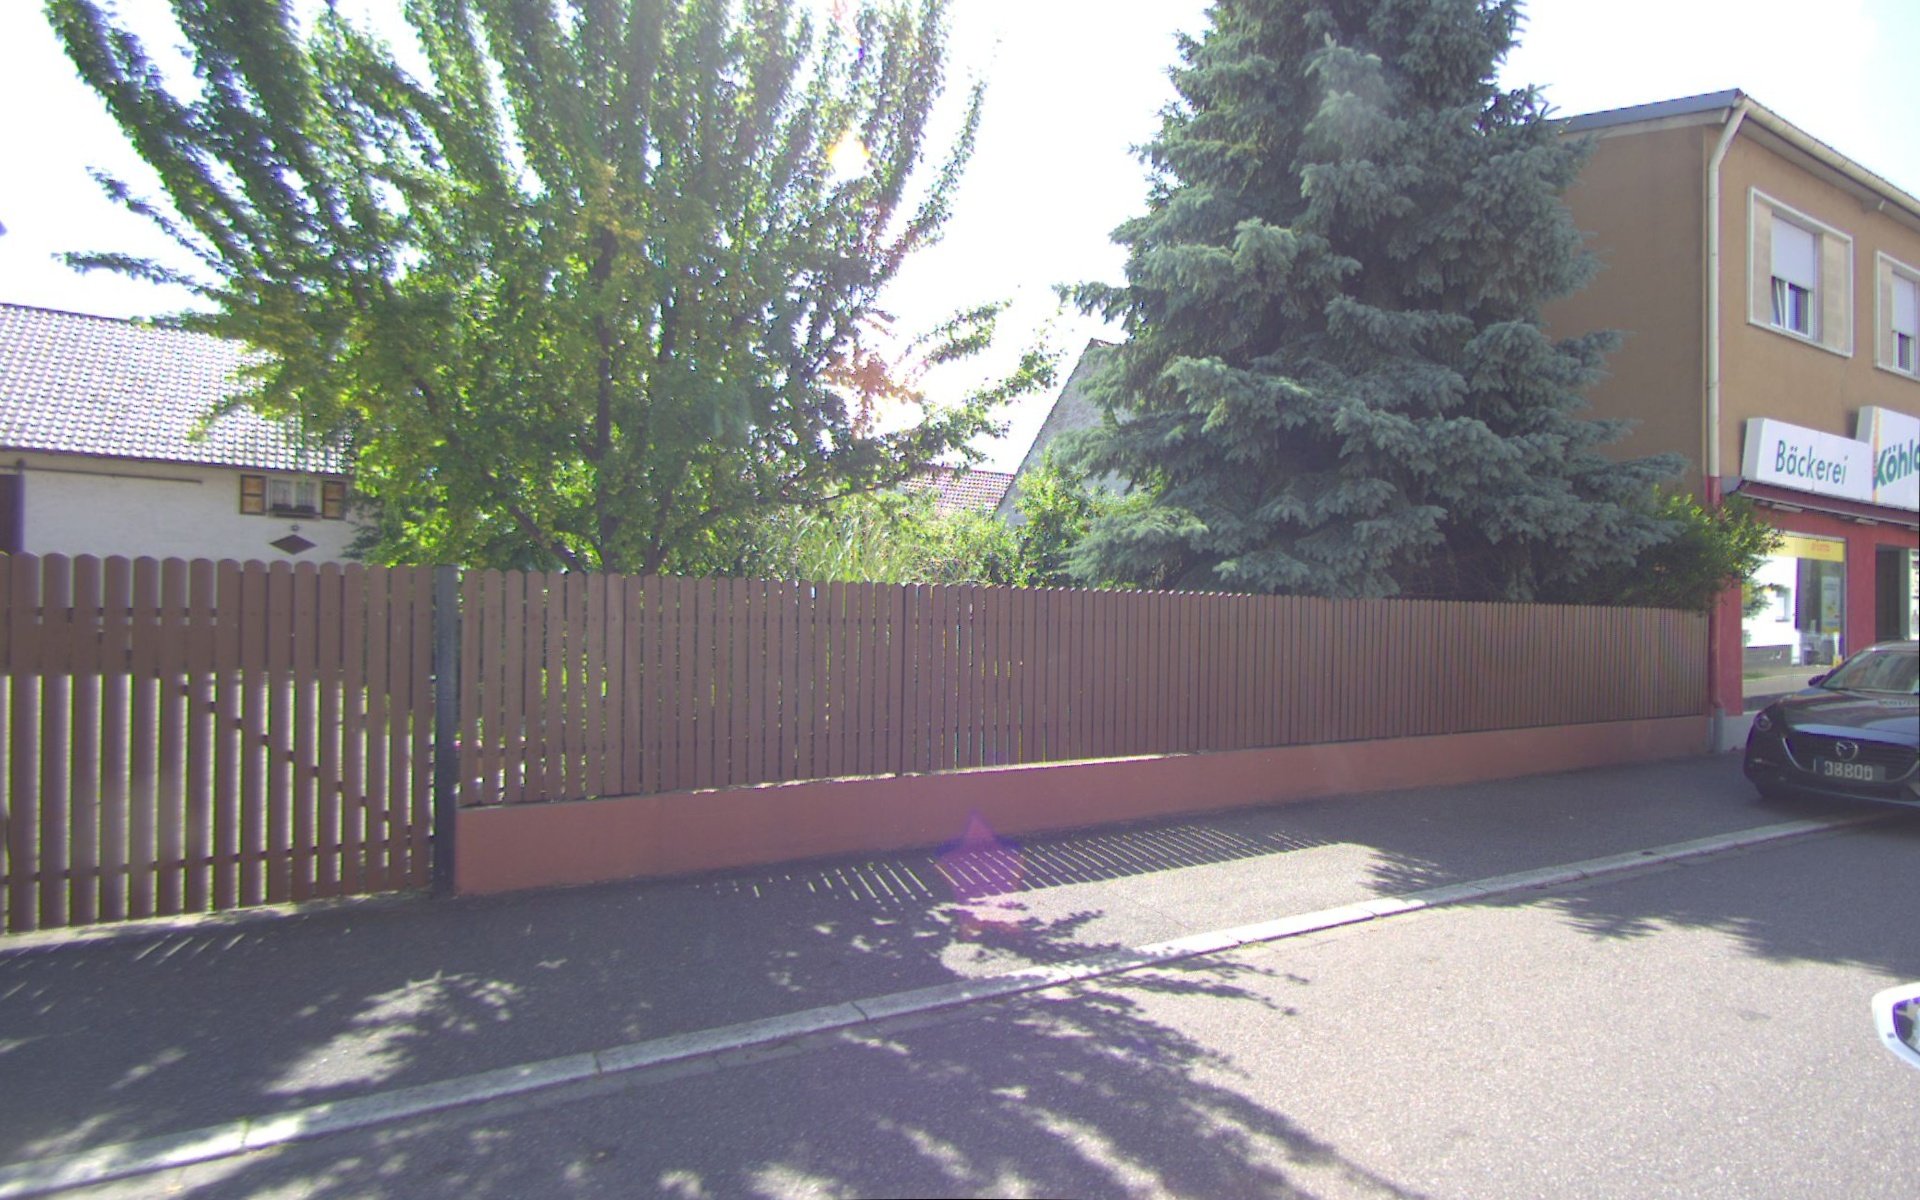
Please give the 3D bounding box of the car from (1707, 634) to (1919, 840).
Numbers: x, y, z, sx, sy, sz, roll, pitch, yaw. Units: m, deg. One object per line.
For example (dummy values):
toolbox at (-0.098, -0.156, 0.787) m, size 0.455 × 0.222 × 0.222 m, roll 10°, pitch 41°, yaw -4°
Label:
car at (8.709, 1.058, 8.823) m, size 4.380 × 1.479 × 1.761 m, roll 1°, pitch -1°, yaw -28°
